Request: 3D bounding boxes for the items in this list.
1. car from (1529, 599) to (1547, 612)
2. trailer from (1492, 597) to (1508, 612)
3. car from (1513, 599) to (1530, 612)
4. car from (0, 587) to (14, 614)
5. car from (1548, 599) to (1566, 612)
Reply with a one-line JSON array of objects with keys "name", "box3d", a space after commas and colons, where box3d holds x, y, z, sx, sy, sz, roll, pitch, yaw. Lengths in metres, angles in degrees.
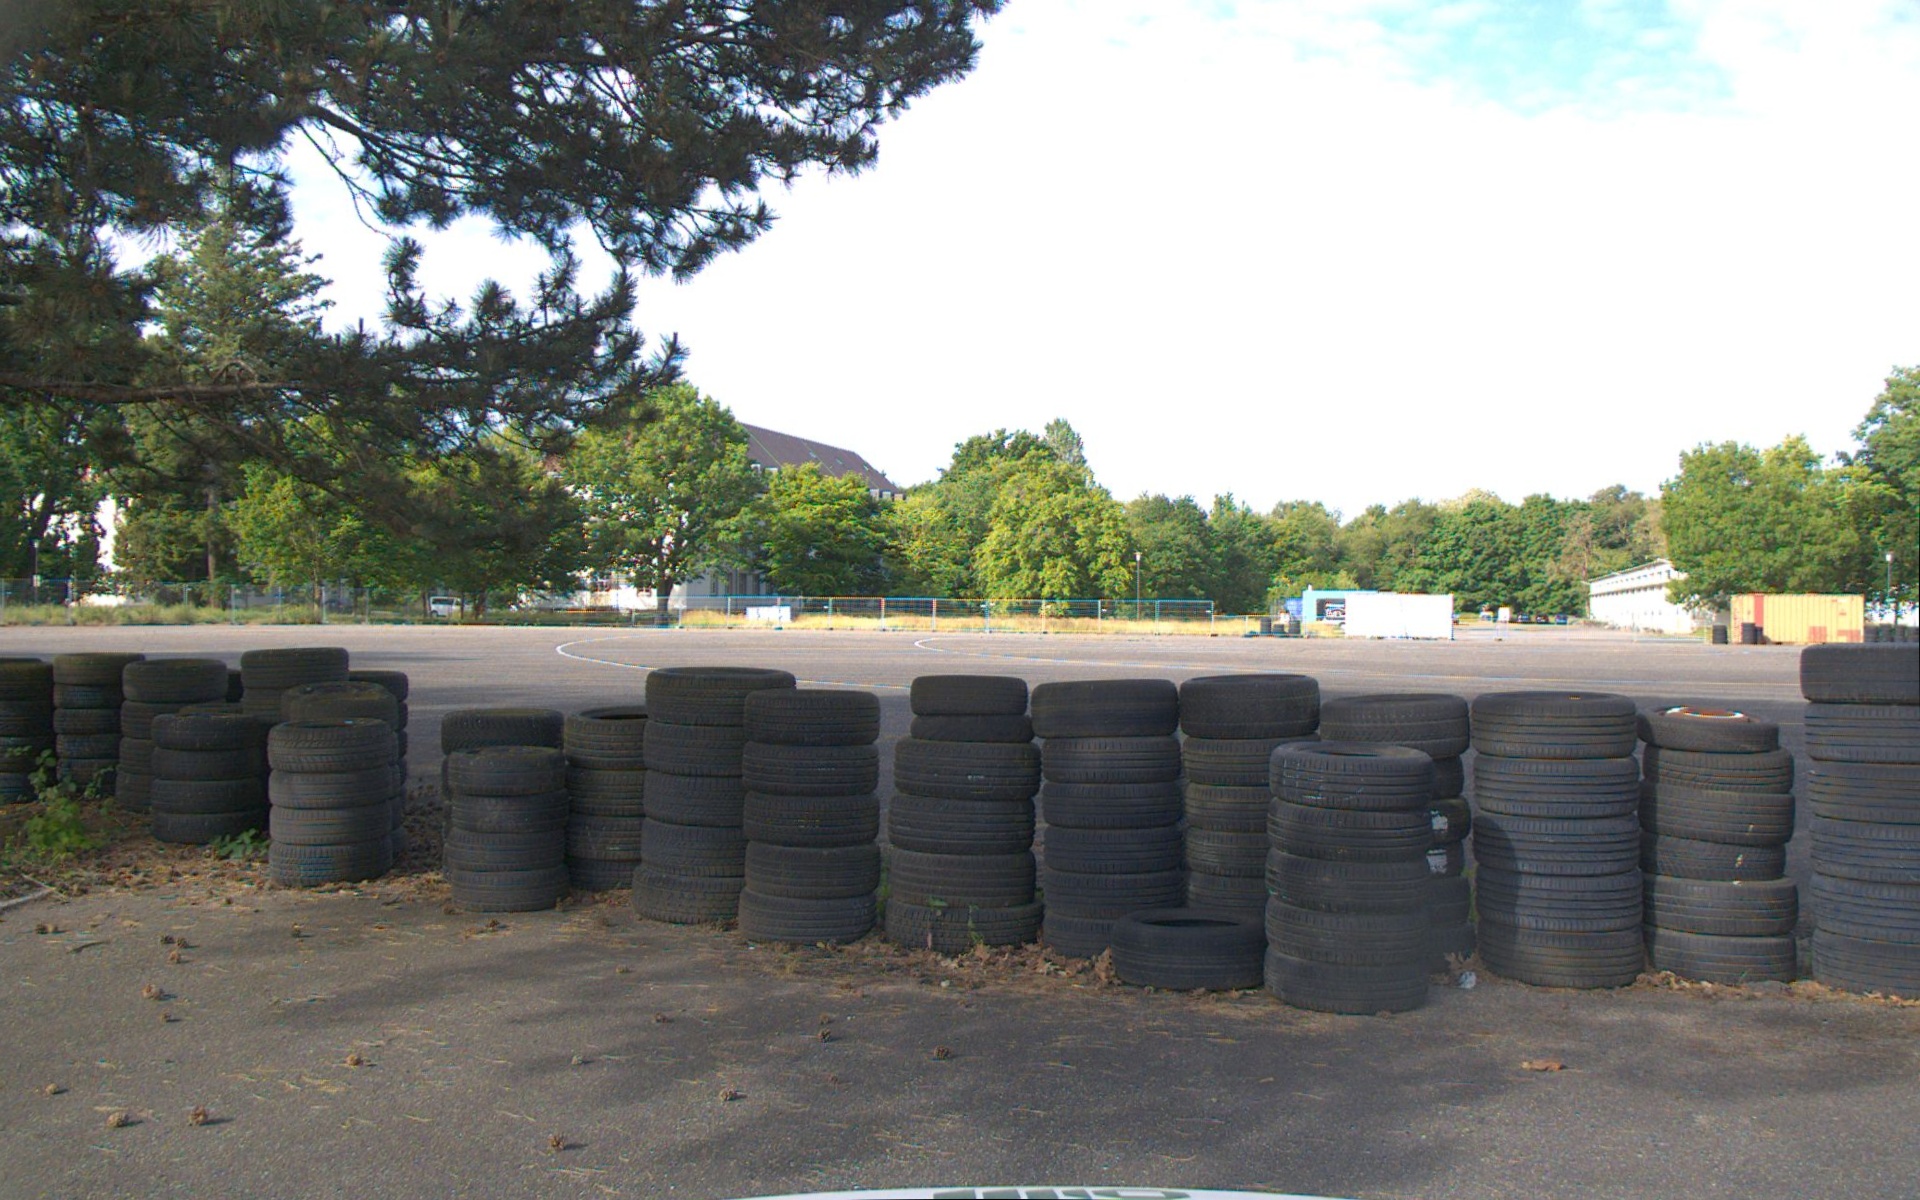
[{"name": "car", "box3d": [81.279, 0.796, 232.591, 1.988, 1.840, 4.003, 0, 0, 14]}, {"name": "trailer", "box3d": [76.883, 0.668, 235.455, 2.014, 2.049, 4.003, 0, 0, 16]}, {"name": "car", "box3d": [79.100, 0.817, 233.060, 1.951, 1.780, 4.003, 0, 0, 14]}, {"name": "car", "box3d": [-64.604, 0.000, 109.167, 3.910, 1.780, 1.998, 0, 0, 28]}, {"name": "car", "box3d": [83.657, 0.710, 231.867, 1.951, 1.780, 4.003, 0, 0, 14]}]
